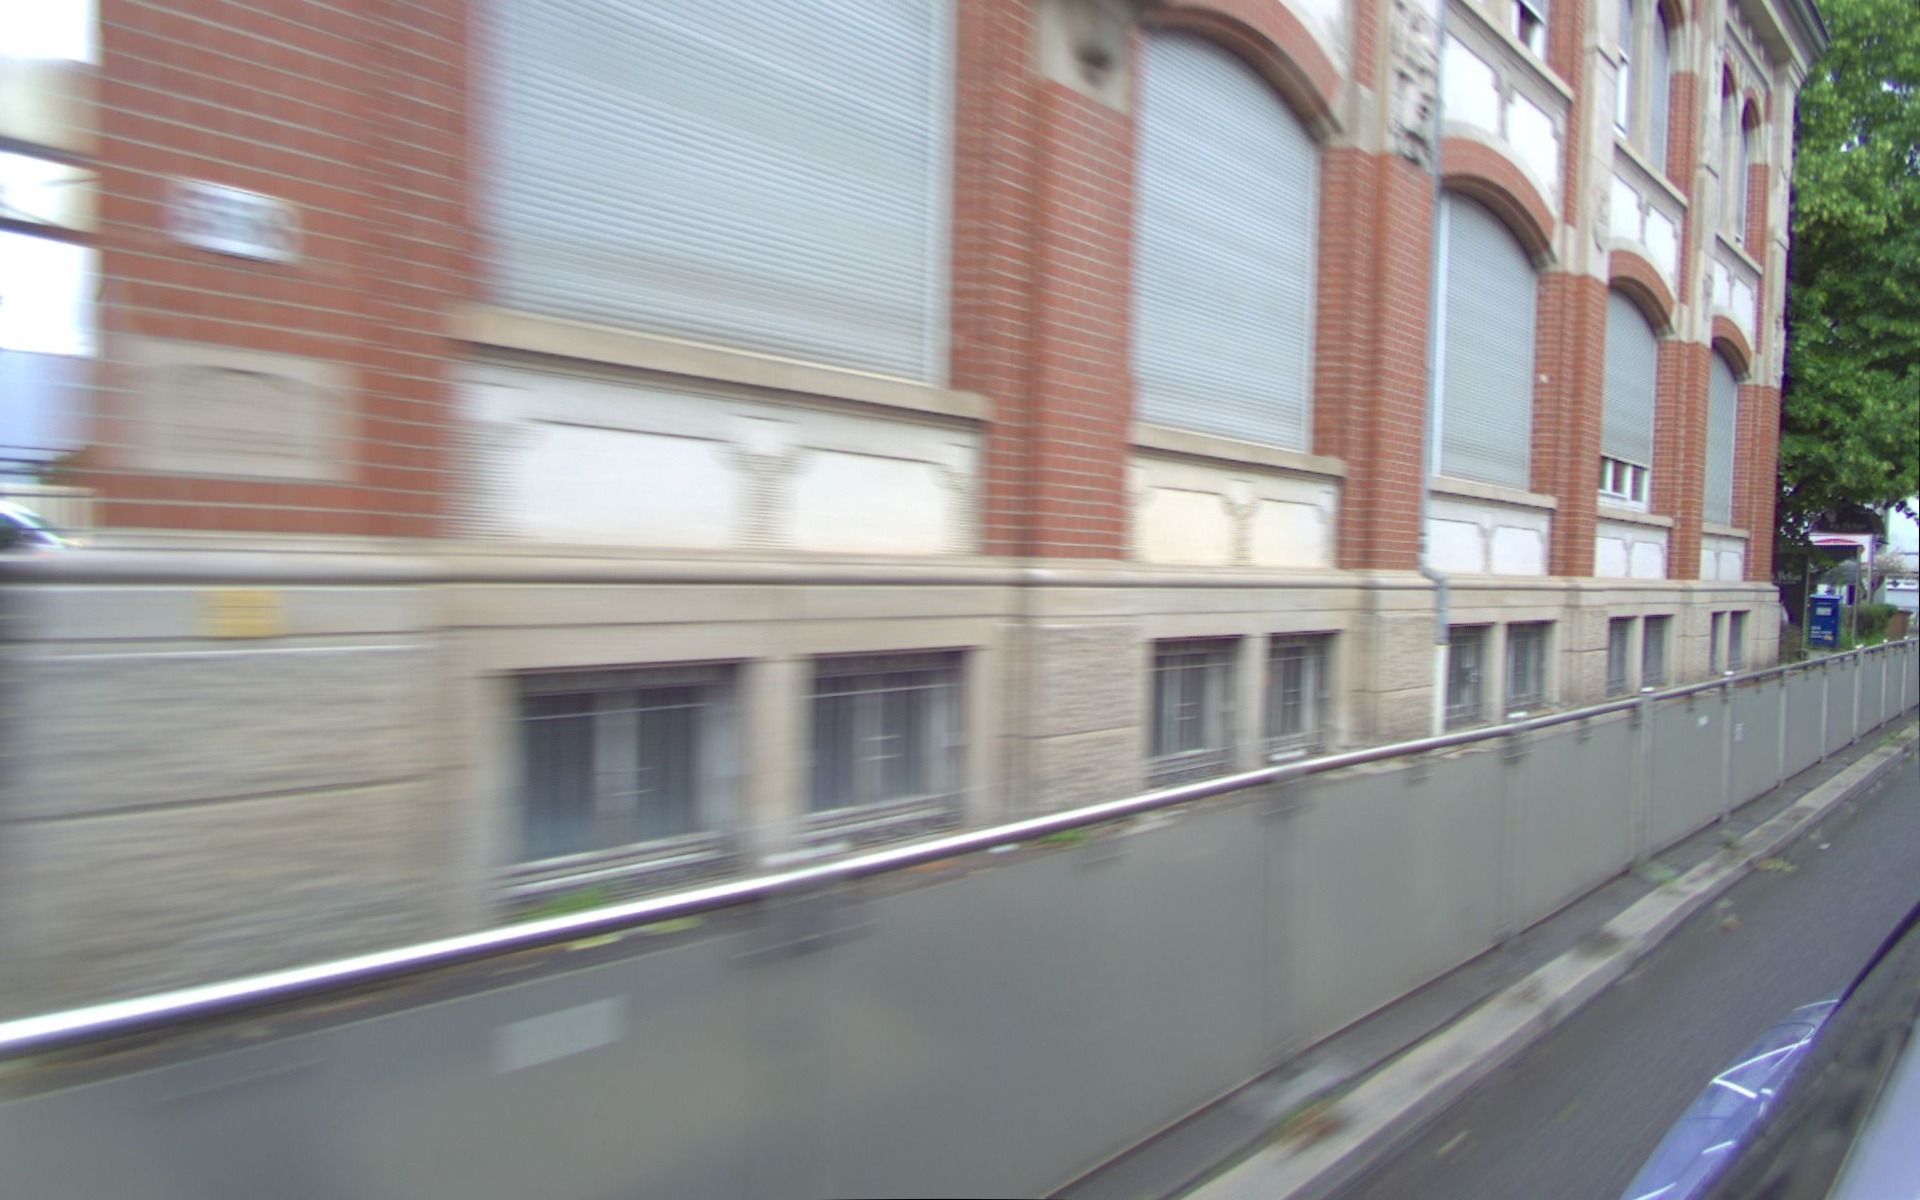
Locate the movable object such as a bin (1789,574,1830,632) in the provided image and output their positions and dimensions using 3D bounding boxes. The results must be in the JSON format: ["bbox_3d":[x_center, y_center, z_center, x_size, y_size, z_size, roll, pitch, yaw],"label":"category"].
[{"bbox_3d":[22.915,0.067,27.302,0.615,1.526,0.738,0,2,-43],"label":"movable object such as a bin"}]

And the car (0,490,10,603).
[{"bbox_3d":[-18.725,-0.902,16.975,3.927,1.974,1.818,-1,1,-40],"label":"car"}]

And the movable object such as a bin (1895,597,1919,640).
[{"bbox_3d":[25.785,0.485,27.449,0.607,1.129,0.506,0,2,-40],"label":"movable object such as a bin"}]

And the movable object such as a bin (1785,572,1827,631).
[{"bbox_3d":[22.449,0.032,26.845,0.615,1.526,0.738,0,2,-43],"label":"movable object such as a bin"}]

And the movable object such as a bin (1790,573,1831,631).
[{"bbox_3d":[23.353,0.047,27.786,0.615,1.526,0.738,0,2,-43],"label":"movable object such as a bin"}]

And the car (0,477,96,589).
[{"bbox_3d":[-21.889,-1.419,21.588,5.204,2.358,2.035,-1,1,-40],"label":"car"}]
